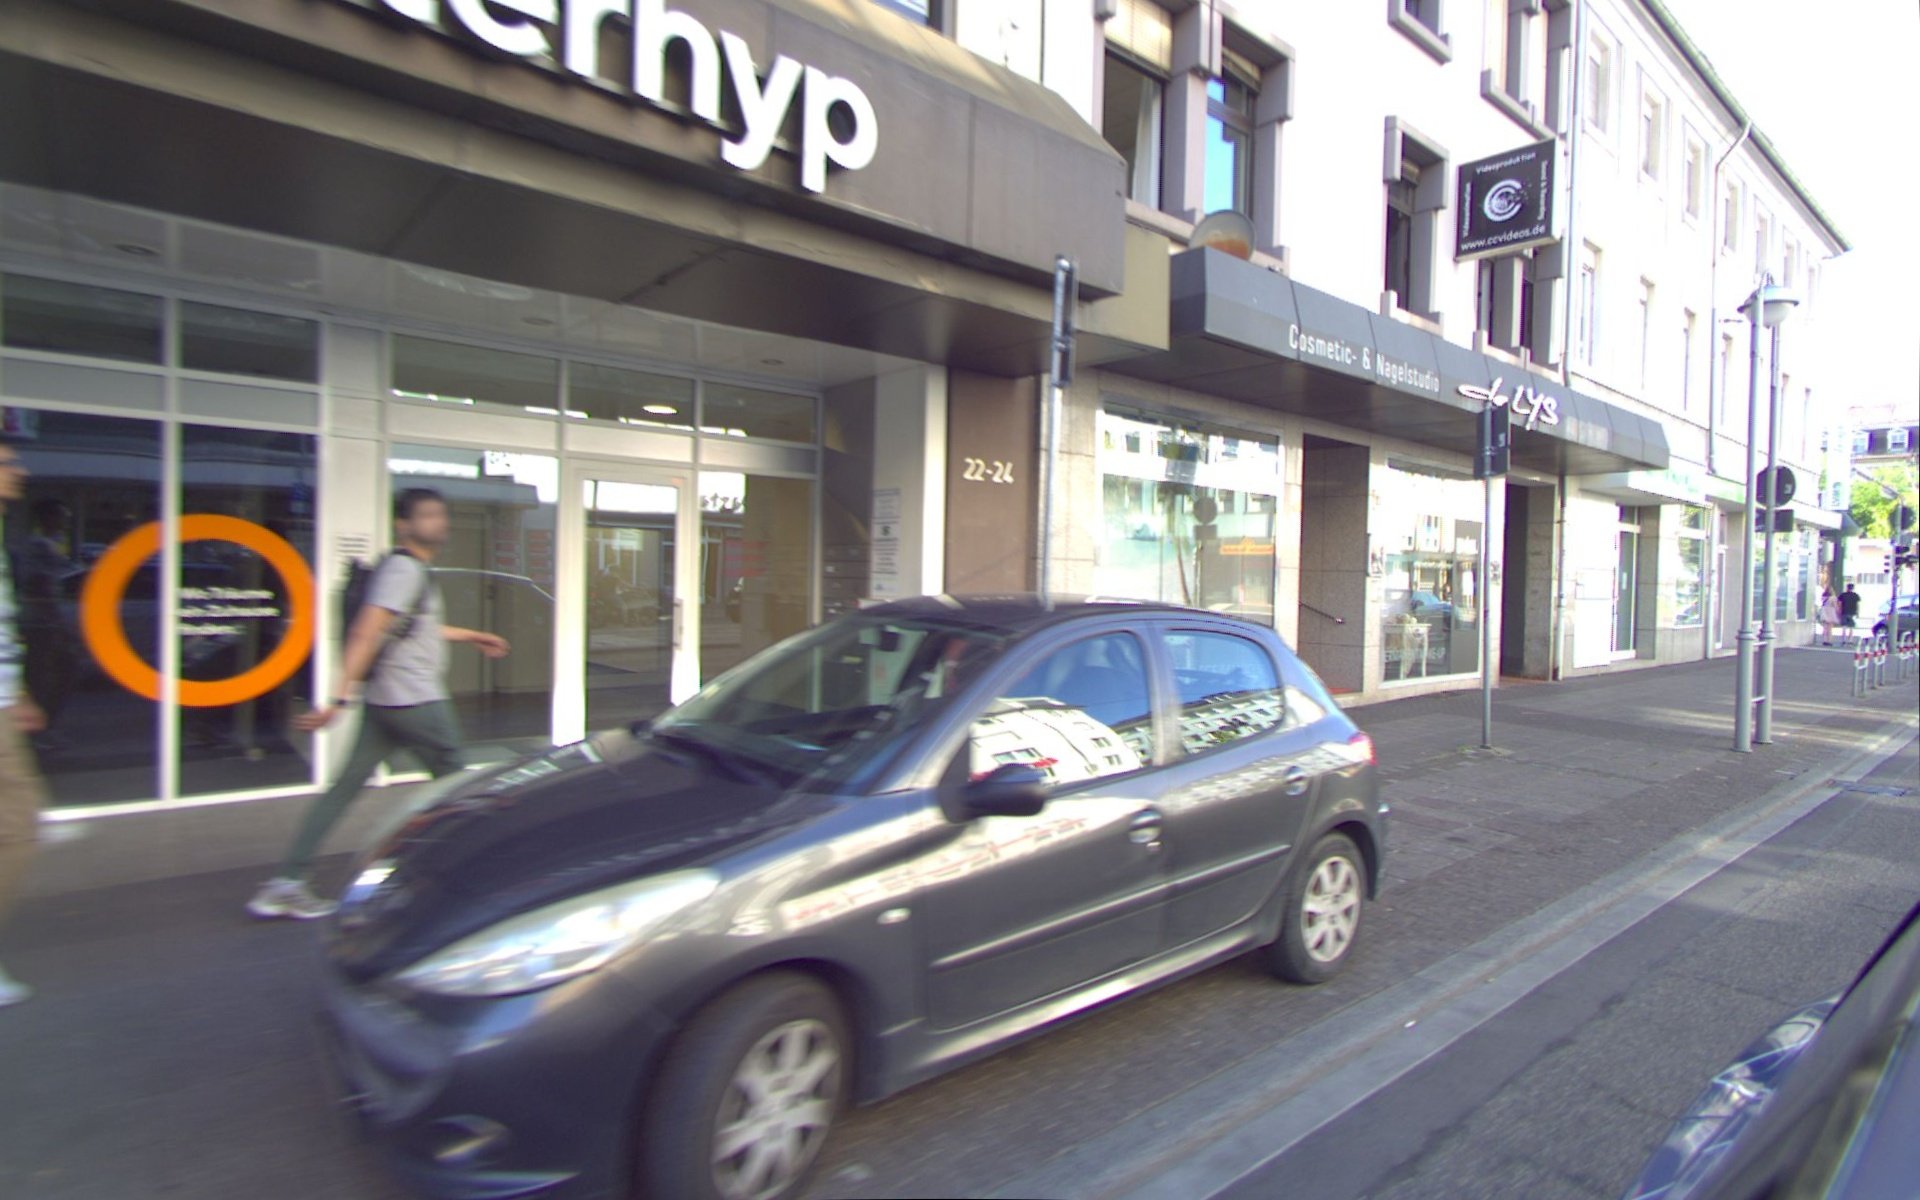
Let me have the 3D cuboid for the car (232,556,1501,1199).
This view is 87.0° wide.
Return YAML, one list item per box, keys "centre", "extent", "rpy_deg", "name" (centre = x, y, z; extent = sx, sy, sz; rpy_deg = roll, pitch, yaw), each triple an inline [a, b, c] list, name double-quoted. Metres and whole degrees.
- centre: [0.025, 0.650, 3.648]
  extent: [4.224, 1.480, 1.853]
  rpy_deg: [0, 3, -39]
  name: "car"

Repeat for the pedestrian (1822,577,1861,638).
- centre: [26.032, 0.209, 29.901]
  extent: [0.562, 1.781, 0.651]
  rpy_deg: [0, 1, -16]
  name: "pedestrian"

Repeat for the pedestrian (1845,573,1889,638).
- centre: [26.375, 0.163, 29.431]
  extent: [0.628, 1.865, 0.683]
  rpy_deg: [1, 1, -16]
  name: "pedestrian"

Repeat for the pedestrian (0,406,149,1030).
- centre: [-3.257, 0.332, 3.268]
  extent: [0.981, 1.865, 0.925]
  rpy_deg: [0, 3, -39]
  name: "pedestrian"

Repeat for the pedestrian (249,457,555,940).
- centre: [-2.392, 0.353, 4.340]
  extent: [1.013, 1.774, 0.781]
  rpy_deg: [0, 1, -39]
  name: "pedestrian"

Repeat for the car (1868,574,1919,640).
- centre: [28.864, 0.217, 29.091]
  extent: [1.876, 1.893, 4.098]
  rpy_deg: [-1, 2, 1]
  name: "car"
